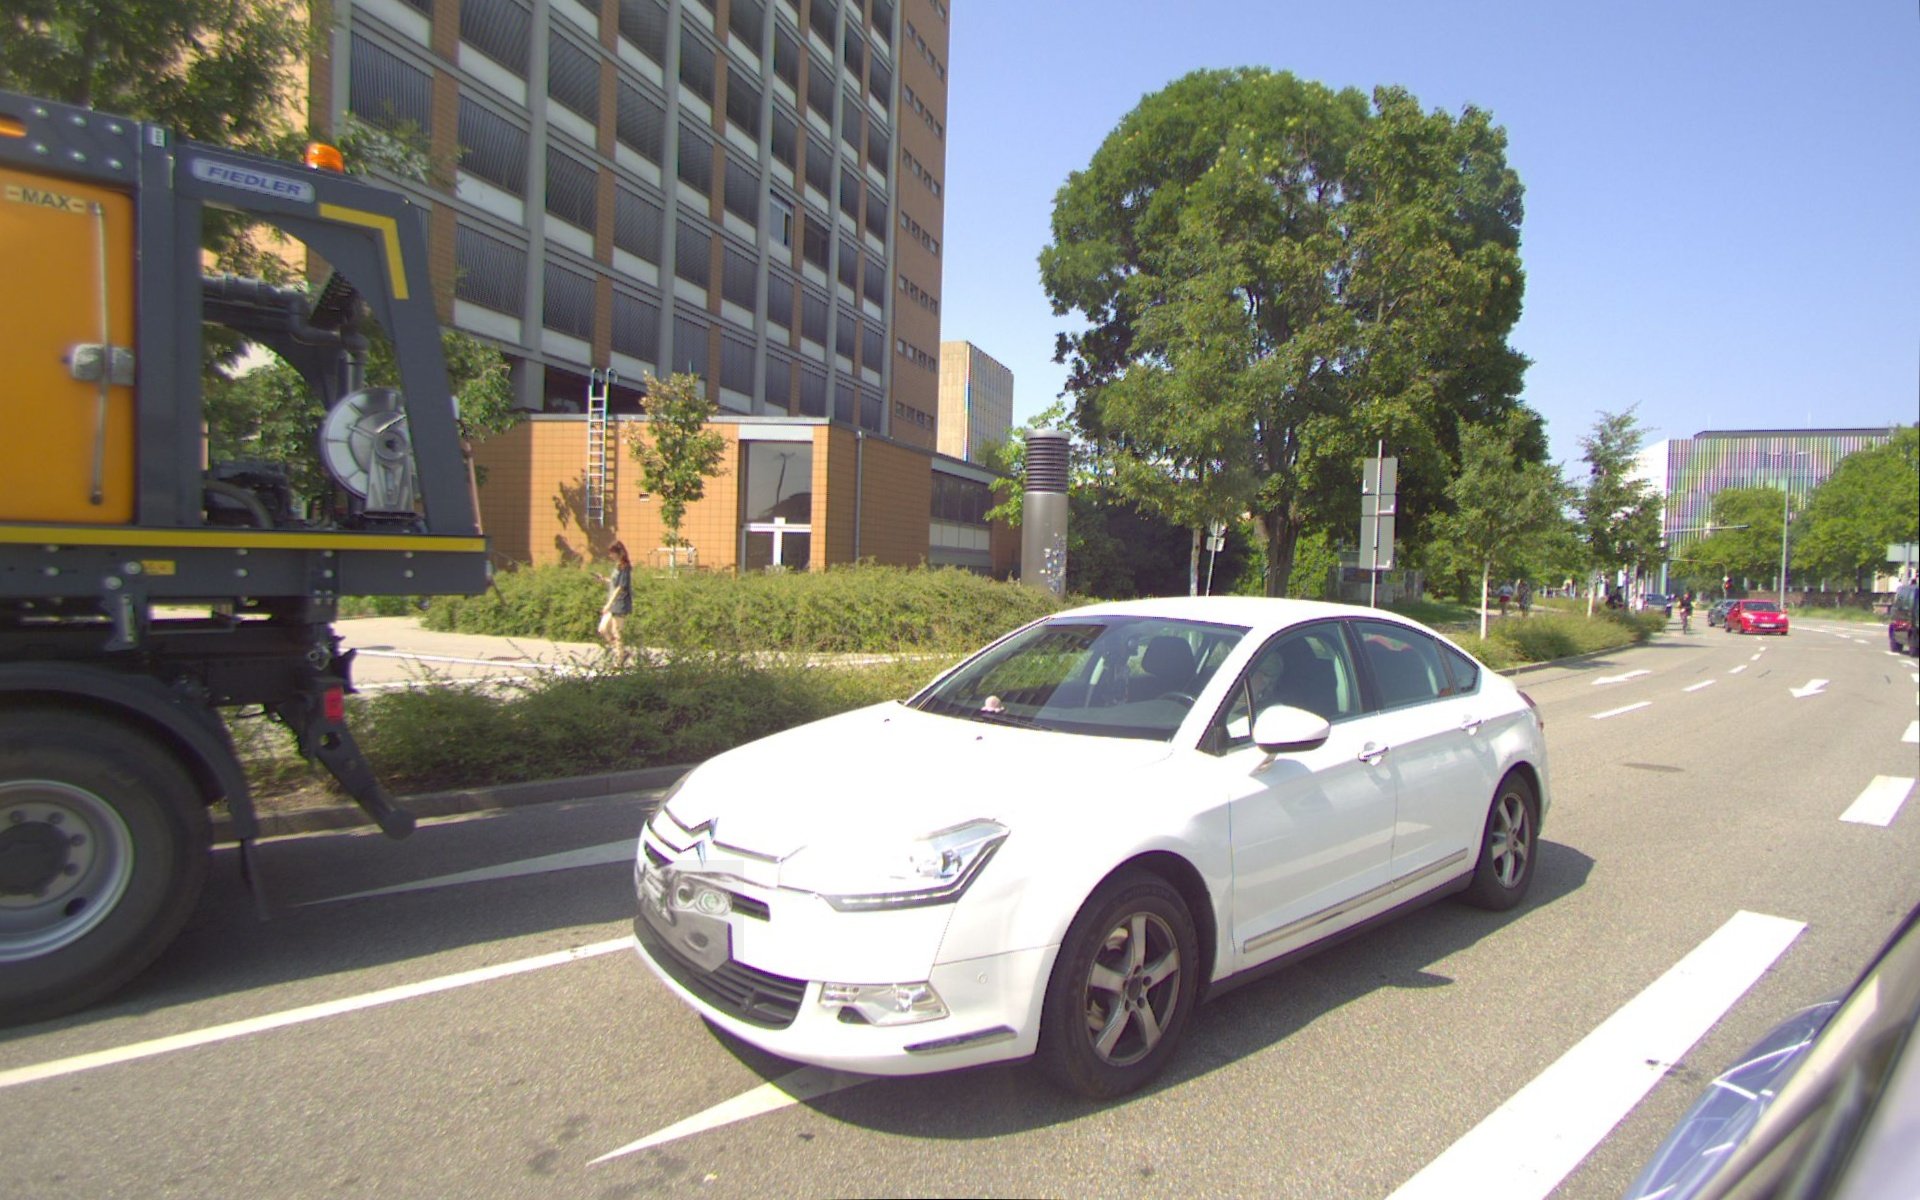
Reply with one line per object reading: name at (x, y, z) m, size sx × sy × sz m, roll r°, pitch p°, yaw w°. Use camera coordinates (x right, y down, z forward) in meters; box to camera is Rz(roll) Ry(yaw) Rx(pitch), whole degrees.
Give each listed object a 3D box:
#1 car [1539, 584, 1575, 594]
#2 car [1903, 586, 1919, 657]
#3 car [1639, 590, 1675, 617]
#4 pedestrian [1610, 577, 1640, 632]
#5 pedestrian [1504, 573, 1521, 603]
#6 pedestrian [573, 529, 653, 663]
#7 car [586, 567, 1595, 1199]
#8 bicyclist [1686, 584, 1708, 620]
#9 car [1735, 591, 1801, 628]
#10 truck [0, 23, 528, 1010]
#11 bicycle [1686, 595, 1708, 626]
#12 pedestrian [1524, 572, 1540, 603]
car at (89.308, -1.652, 151.438) m, size 4.354 × 1.405 × 1.765 m, roll 0°, pitch 0°, yaw 13°
car at (27.284, 0.602, 27.512) m, size 1.881 × 1.943 × 4.474 m, roll 1°, pitch 1°, yaw 36°
car at (47.202, 0.203, 68.484) m, size 1.801 × 1.682 × 3.947 m, roll 3°, pitch 3°, yaw 37°
pedestrian at (23.929, 0.155, 36.410) m, size 0.818 × 1.926 × 0.622 m, roll 2°, pitch 1°, yaw 37°
pedestrian at (23.747, -0.512, 43.482) m, size 0.630 × 1.315 × 0.481 m, roll 0°, pitch 0°, yaw 32°
pedestrian at (-4.627, -0.060, 13.502) m, size 0.792 × 1.720 × 0.671 m, roll 1°, pitch 1°, yaw -41°
car at (0.957, 0.634, 4.415) m, size 4.528 × 1.446 × 1.773 m, roll 0°, pitch 2°, yaw -40°
bicyclist at (30.163, 0.064, 41.427) m, size 0.675 × 1.417 × 1.036 m, roll 2°, pitch 1°, yaw 35°
car at (33.818, 0.369, 42.455) m, size 1.637 × 1.449 × 3.774 m, roll 1°, pitch 1°, yaw 31°
truck at (-5.229, -0.287, 3.139) m, size 6.736 × 3.174 × 2.498 m, roll 0°, pitch 1°, yaw -39°
bicycle at (30.097, 0.413, 41.366) m, size 0.590 × 1.183 × 2.208 m, roll 2°, pitch 2°, yaw 33°
pedestrian at (24.324, -0.515, 43.013) m, size 0.572 × 1.315 × 0.433 m, roll 0°, pitch 0°, yaw 31°
